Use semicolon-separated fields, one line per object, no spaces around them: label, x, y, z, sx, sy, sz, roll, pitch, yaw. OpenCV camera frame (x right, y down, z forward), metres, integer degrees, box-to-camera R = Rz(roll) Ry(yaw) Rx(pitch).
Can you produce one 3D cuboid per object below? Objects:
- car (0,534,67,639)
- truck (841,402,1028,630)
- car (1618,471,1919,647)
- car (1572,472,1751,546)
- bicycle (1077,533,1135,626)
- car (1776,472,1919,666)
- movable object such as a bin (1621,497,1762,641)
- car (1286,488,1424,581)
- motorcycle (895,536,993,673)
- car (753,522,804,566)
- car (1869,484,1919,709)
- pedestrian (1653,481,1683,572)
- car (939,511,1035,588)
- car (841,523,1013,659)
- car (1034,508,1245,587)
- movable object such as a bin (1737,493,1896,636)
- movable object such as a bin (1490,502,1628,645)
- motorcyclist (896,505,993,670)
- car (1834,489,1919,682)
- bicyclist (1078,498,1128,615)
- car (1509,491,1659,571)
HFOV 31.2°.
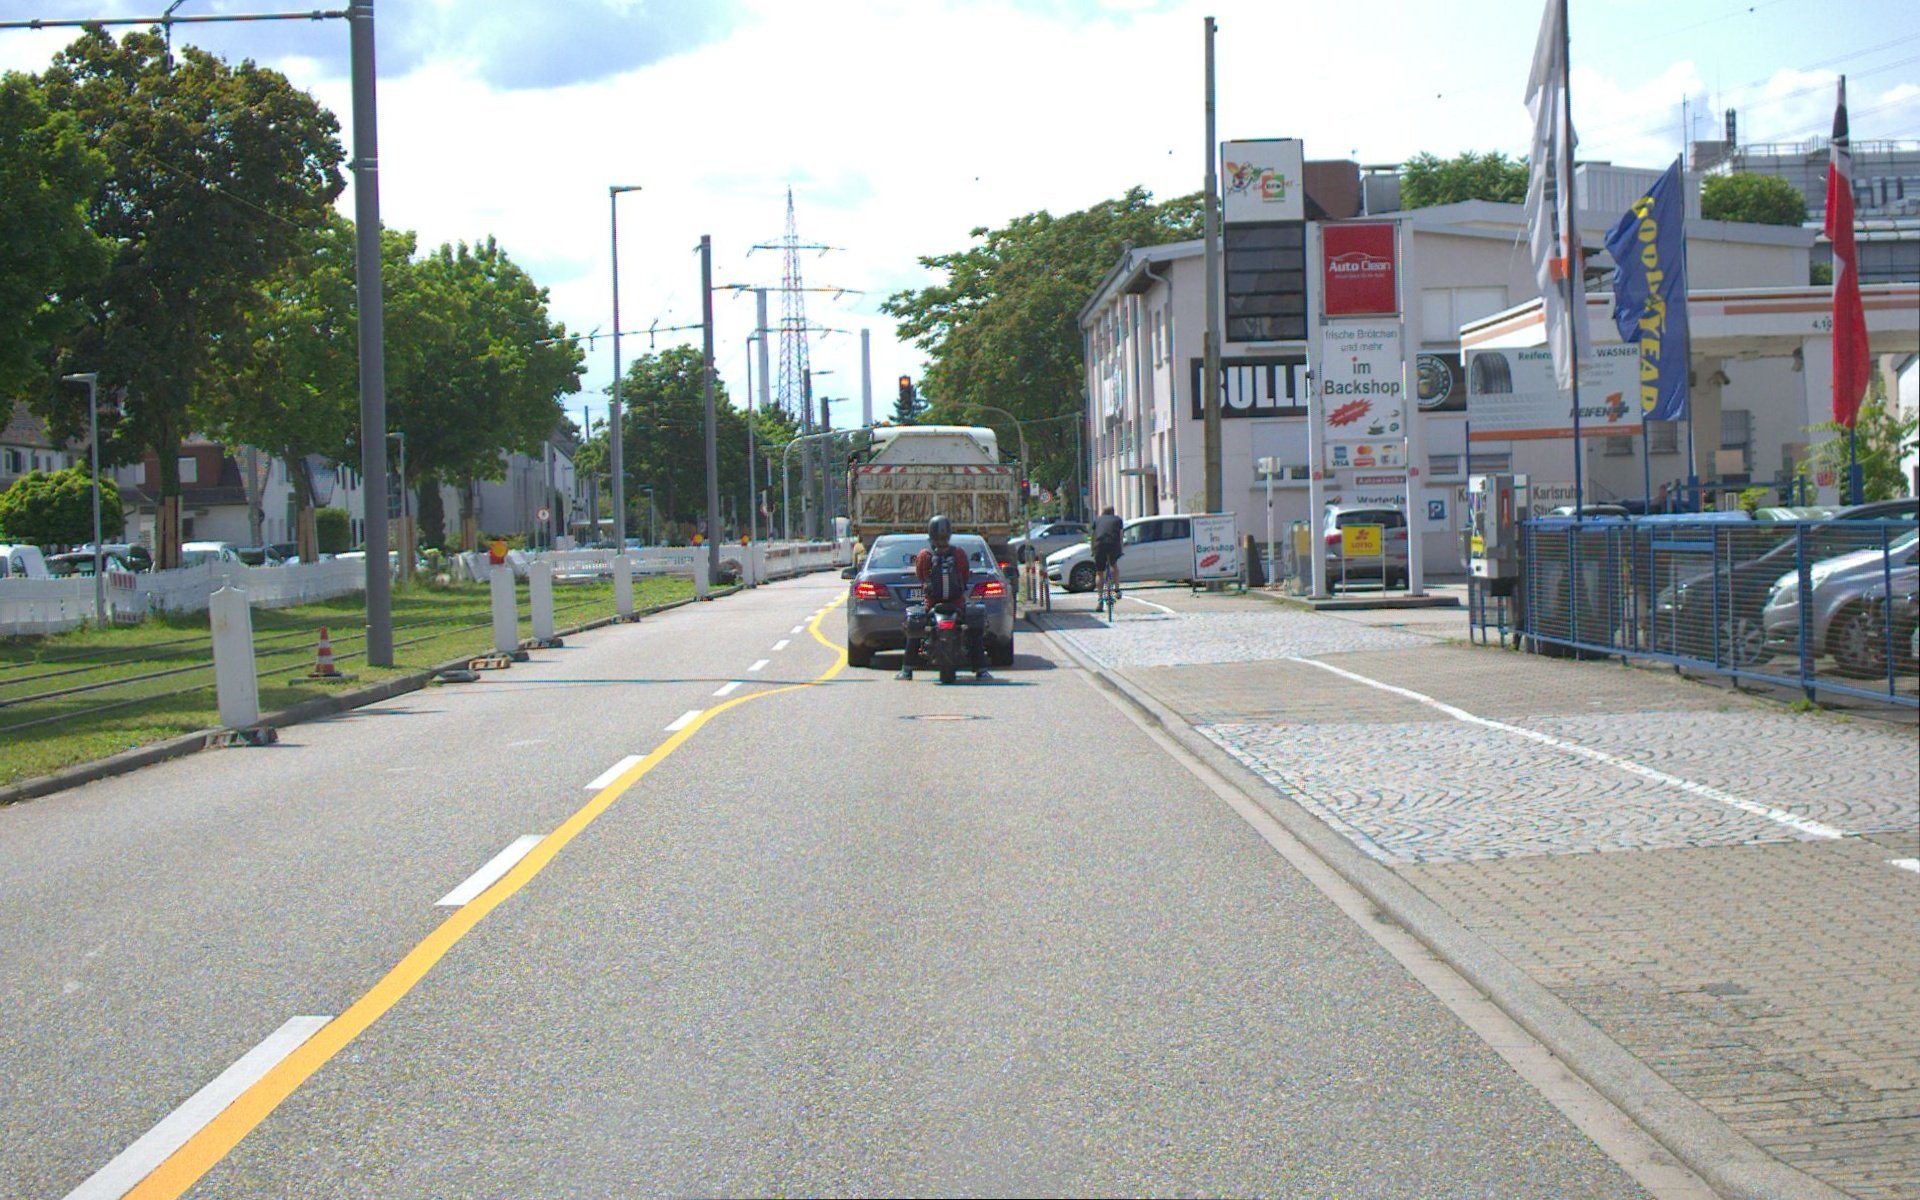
car;-16.963;-0.210;59.343;1.993;1.744;4.000;-3;1;0
truck;-0.357;-1.437;55.254;2.610;3.244;9.183;-3;2;0
car;7.928;-0.385;30.243;3.990;1.438;1.709;-2;1;17
car;17.537;-2.260;86.038;3.987;1.643;1.966;-3;1;-1
bicycle;2.215;-0.328;52.408;0.693;1.357;2.419;-2;1;-1
car;8.602;-0.301;27.387;3.990;1.491;1.749;-2;1;15
movable object such as a bin;7.702;-0.329;36.240;1.256;1.439;0.824;-3;1;0
car;7.506;-1.241;65.704;1.959;1.643;4.000;-3;1;-2
motorcycle;-0.162;0.016;34.466;0.939;1.316;2.645;0;1;0
car;-6.354;-1.974;120.381;1.654;1.442;4.304;-3;2;-2
car;8.256;-0.107;22.536;4.184;1.426;1.820;-2;1;7
pedestrian;13.272;-1.382;64.493;0.396;1.683;0.485;-3;1;1
car;0.526;-1.022;68.125;1.821;1.459;4.000;-1;1;0
car;-0.365;-0.138;38.939;1.821;1.419;4.000;-1;1;0
car;3.969;-1.156;76.344;4.329;1.546;1.950;-3;1;-8
movable object such as a bin;9.028;-0.376;36.263;1.320;1.439;0.955;-3;1;-7
movable object such as a bin;6.325;-0.283;36.354;1.256;1.439;0.824;-3;1;0
motorcyclist;-0.157;-0.134;34.283;0.939;1.609;1.205;0;1;0
car;8.504;-0.177;24.928;3.988;1.351;1.820;-2;1;8
bicyclist;2.168;-0.665;52.230;0.671;1.738;0.814;-2;1;-1
car;12.015;-1.320;66.411;1.959;1.415;4.000;-3;1;-2
